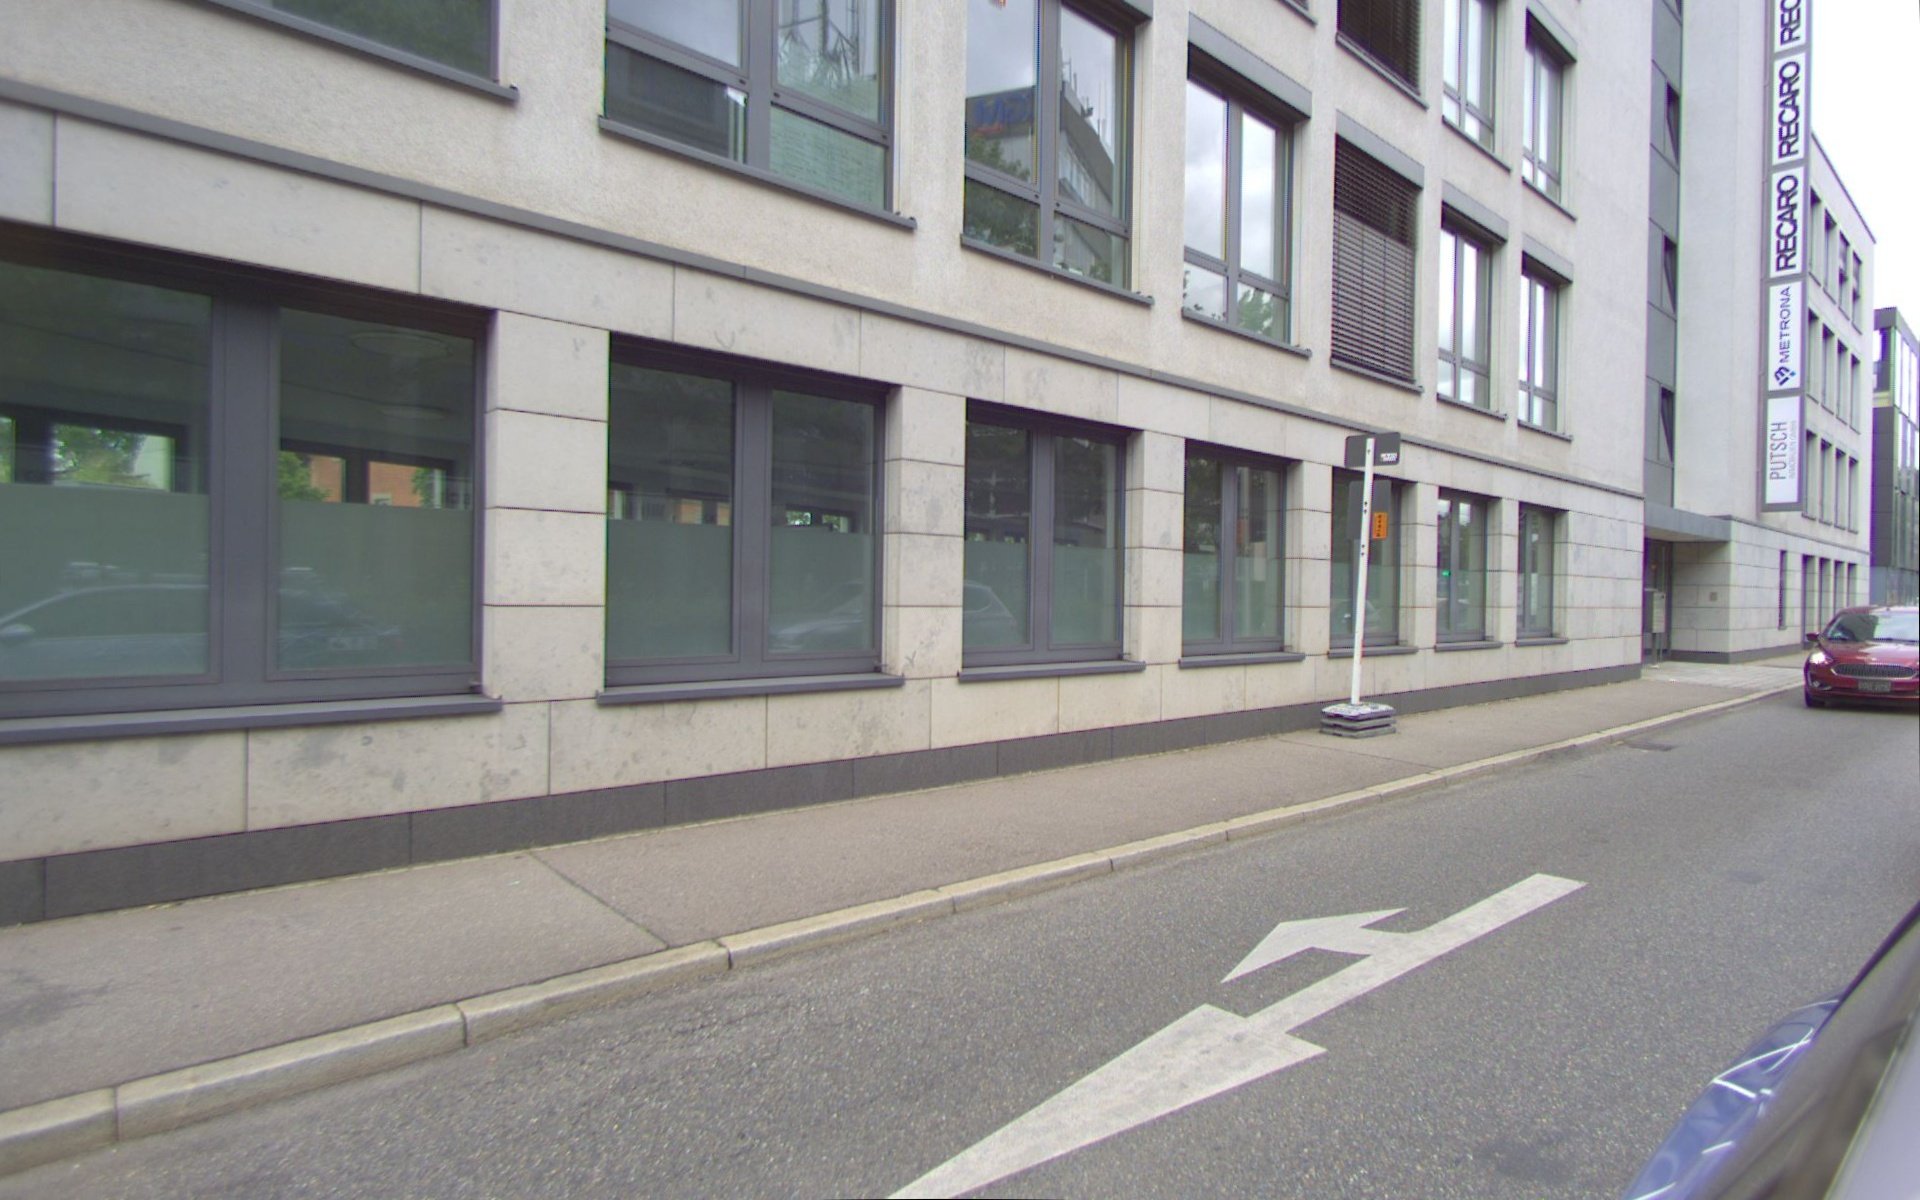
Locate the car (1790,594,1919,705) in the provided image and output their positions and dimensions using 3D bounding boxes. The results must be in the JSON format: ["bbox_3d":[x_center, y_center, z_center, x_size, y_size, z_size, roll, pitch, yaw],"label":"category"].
[{"bbox_3d":[14.295,0.695,15.427,3.930,1.511,1.888,0,-2,-41],"label":"car"}]
